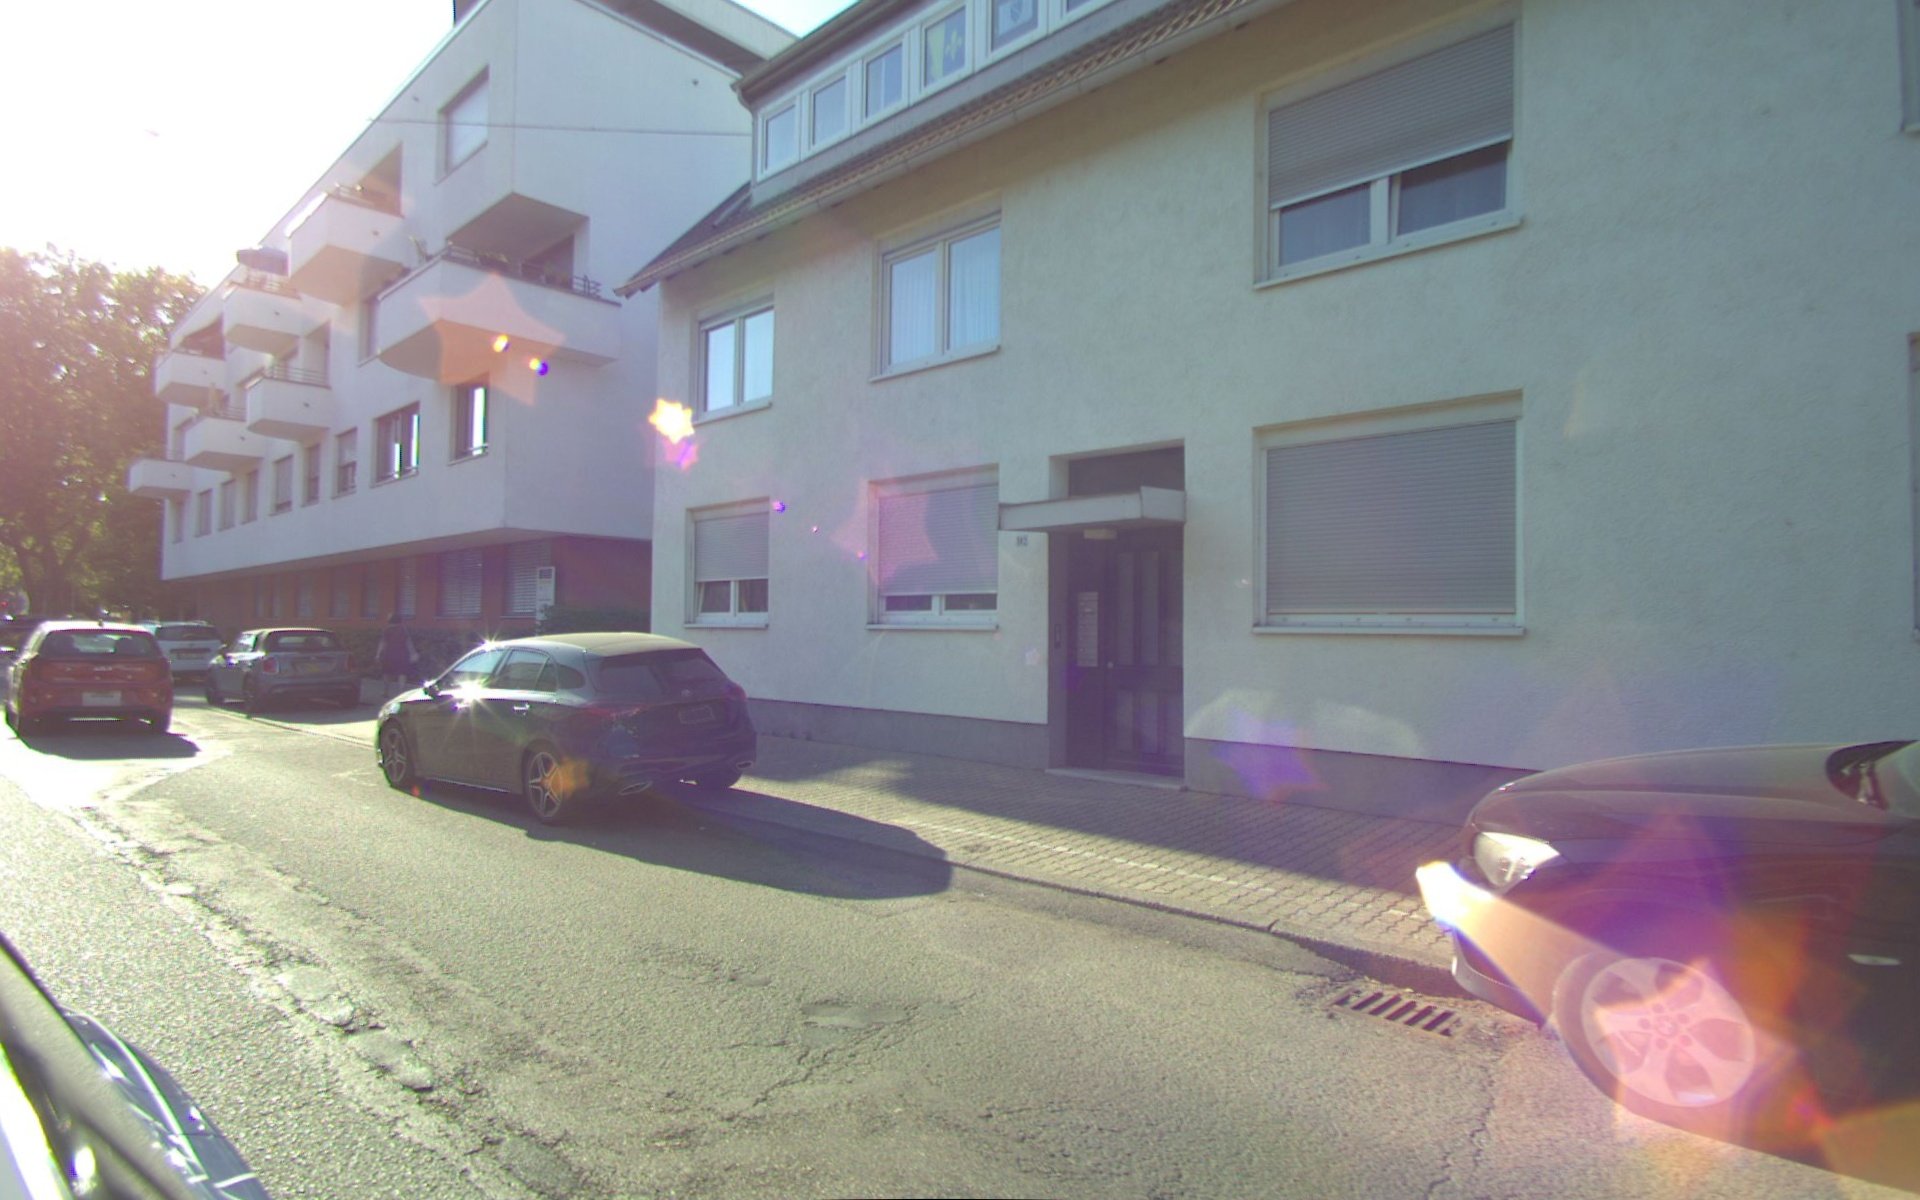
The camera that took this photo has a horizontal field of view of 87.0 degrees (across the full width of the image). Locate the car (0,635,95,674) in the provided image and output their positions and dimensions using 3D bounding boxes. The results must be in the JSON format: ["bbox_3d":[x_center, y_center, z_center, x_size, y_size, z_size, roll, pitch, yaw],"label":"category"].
[{"bbox_3d":[-42.172,2.457,46.139,1.683,1.675,3.943,0,-2,13],"label":"car"}]

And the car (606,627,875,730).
[{"bbox_3d":[-3.891,1.437,18.663,2.013,1.651,4.559,-2,-5,40],"label":"car"}]

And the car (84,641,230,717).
[{"bbox_3d":[-19.927,1.870,25.057,4.616,1.599,1.840,-1,-1,39],"label":"car"}]

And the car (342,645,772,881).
[{"bbox_3d":[-3.778,1.232,9.134,4.329,1.547,1.668,-1,-1,38],"label":"car"}]

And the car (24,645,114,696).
[{"bbox_3d":[-28.705,2.227,32.576,3.768,1.444,1.657,-1,-1,40],"label":"car"}]

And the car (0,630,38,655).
[{"bbox_3d":[-72.589,3.201,76.404,1.823,1.896,3.967,0,-2,24],"label":"car"}]

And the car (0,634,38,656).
[{"bbox_3d":[-70.513,3.300,74.442,1.639,1.572,3.572,0,-2,23],"label":"car"}]

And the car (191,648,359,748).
[{"bbox_3d":[-12.759,1.720,18.778,3.855,1.547,1.650,-1,-1,41],"label":"car"}]

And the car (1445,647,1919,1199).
[{"bbox_3d":[3.901,0.947,2.697,4.335,1.599,1.837,-3,-2,42],"label":"car"}]

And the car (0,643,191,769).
[{"bbox_3d":[-12.546,1.423,14.417,4.145,1.502,1.821,-2,-6,44],"label":"car"}]

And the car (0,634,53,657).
[{"bbox_3d":[-68.535,3.269,73.158,1.788,1.637,3.964,0,-3,26],"label":"car"}]

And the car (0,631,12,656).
[{"bbox_3d":[-75.265,3.330,77.179,1.701,1.901,3.981,0,-2,14],"label":"car"}]

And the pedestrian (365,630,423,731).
[{"bbox_3d":[-10.946,1.522,19.591,0.849,1.832,1.136,-2,-1,-25],"label":"pedestrian"}]
